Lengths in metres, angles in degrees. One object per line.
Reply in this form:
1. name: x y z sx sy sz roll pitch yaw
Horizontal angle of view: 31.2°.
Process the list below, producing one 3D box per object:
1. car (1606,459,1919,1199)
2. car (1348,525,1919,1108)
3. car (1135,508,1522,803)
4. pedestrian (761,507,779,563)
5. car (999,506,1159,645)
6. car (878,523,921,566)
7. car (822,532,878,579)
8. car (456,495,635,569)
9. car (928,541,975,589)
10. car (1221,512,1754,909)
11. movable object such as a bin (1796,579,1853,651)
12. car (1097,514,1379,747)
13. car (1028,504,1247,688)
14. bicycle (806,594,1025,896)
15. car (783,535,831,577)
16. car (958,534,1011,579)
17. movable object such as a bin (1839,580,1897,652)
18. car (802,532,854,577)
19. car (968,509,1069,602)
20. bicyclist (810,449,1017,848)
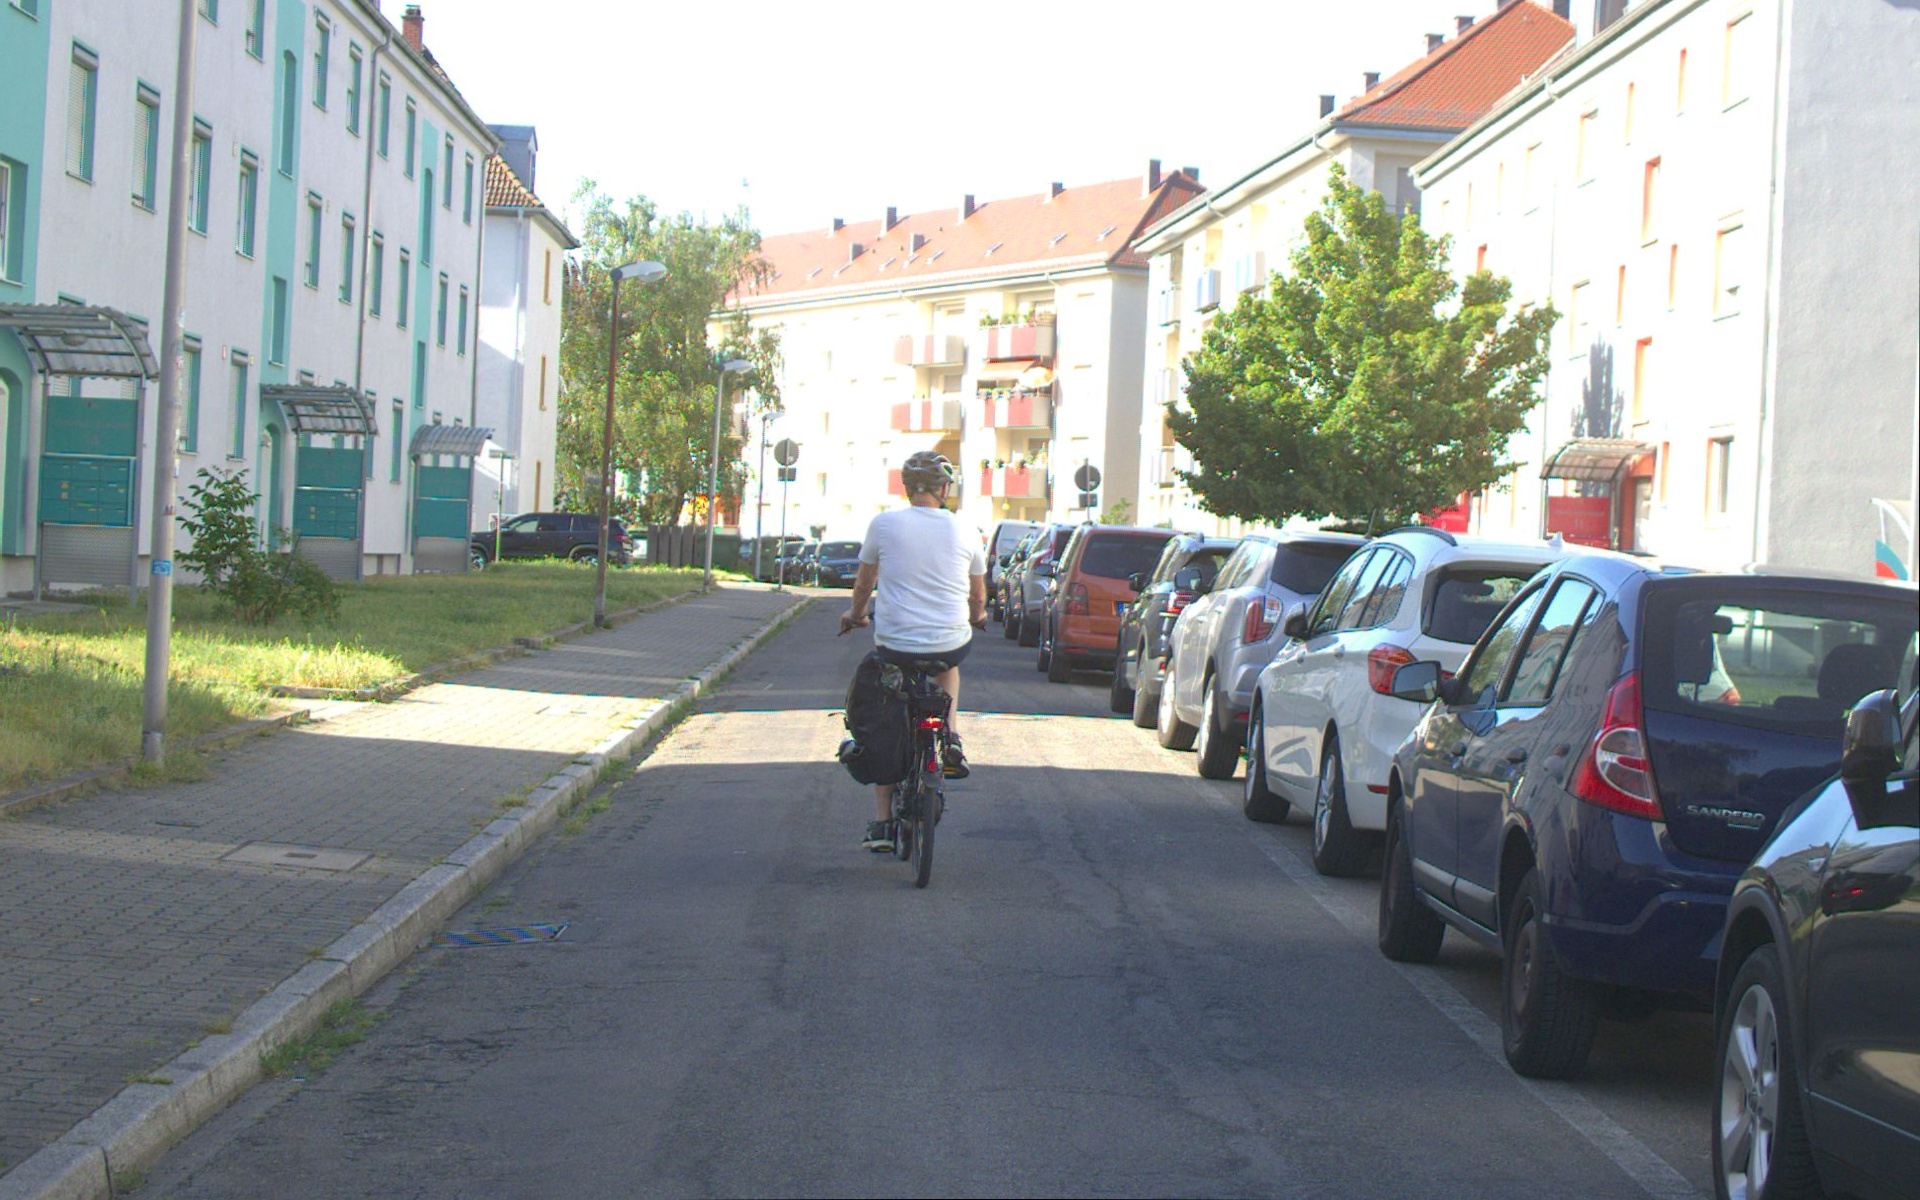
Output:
1. car: 2.528 0.628 6.168 1.783 1.642 4.469 4 2 0
2. car: 2.356 0.546 11.264 1.641 1.493 4.157 2 2 0
3. car: 2.334 0.278 22.922 1.750 1.612 4.453 5 2 -3
4. pedestrian: -5.457 -1.873 98.923 0.434 1.569 0.543 2 1 -1
5. car: 1.553 -0.376 46.366 1.700 1.665 4.380 4 2 -3
6. car: -2.327 -2.153 132.009 1.469 1.511 3.078 3 2 -3
7. car: -3.307 -1.337 102.881 1.469 1.331 3.141 -1 2 -5
8. car: -10.114 -1.677 84.038 4.230 1.632 1.583 2 2 -5
9. car: -0.314 -1.223 119.241 1.381 1.491 3.078 3 2 -3
10. car: 2.417 0.417 16.871 1.690 1.569 4.435 4 2 -2
11. movable object such as a bin: 11.052 0.190 43.970 0.523 0.883 0.633 2 1 -1
12. car: 2.179 0.177 28.039 1.712 1.590 4.398 5 2 -1
13. car: 1.772 -0.087 35.614 1.861 1.662 4.127 4 1 -1
14. bicycle: -0.223 0.576 14.672 0.808 1.124 2.102 1 1 -3
15. car: -5.082 -1.462 113.895 1.469 1.331 3.141 -1 2 -4
16. car: 0.778 -1.442 112.479 1.469 1.331 3.141 3 2 -3
17. movable object such as a bin: 11.610 0.198 43.961 0.523 0.883 0.633 2 1 -1
18. car: -4.127 -1.429 107.240 1.469 1.331 3.141 -1 2 -5
19. car: 1.158 -0.929 69.869 1.674 1.732 3.943 3 2 -3
20. bicyclist: -0.212 0.189 14.715 0.808 1.638 0.899 1 1 -3
